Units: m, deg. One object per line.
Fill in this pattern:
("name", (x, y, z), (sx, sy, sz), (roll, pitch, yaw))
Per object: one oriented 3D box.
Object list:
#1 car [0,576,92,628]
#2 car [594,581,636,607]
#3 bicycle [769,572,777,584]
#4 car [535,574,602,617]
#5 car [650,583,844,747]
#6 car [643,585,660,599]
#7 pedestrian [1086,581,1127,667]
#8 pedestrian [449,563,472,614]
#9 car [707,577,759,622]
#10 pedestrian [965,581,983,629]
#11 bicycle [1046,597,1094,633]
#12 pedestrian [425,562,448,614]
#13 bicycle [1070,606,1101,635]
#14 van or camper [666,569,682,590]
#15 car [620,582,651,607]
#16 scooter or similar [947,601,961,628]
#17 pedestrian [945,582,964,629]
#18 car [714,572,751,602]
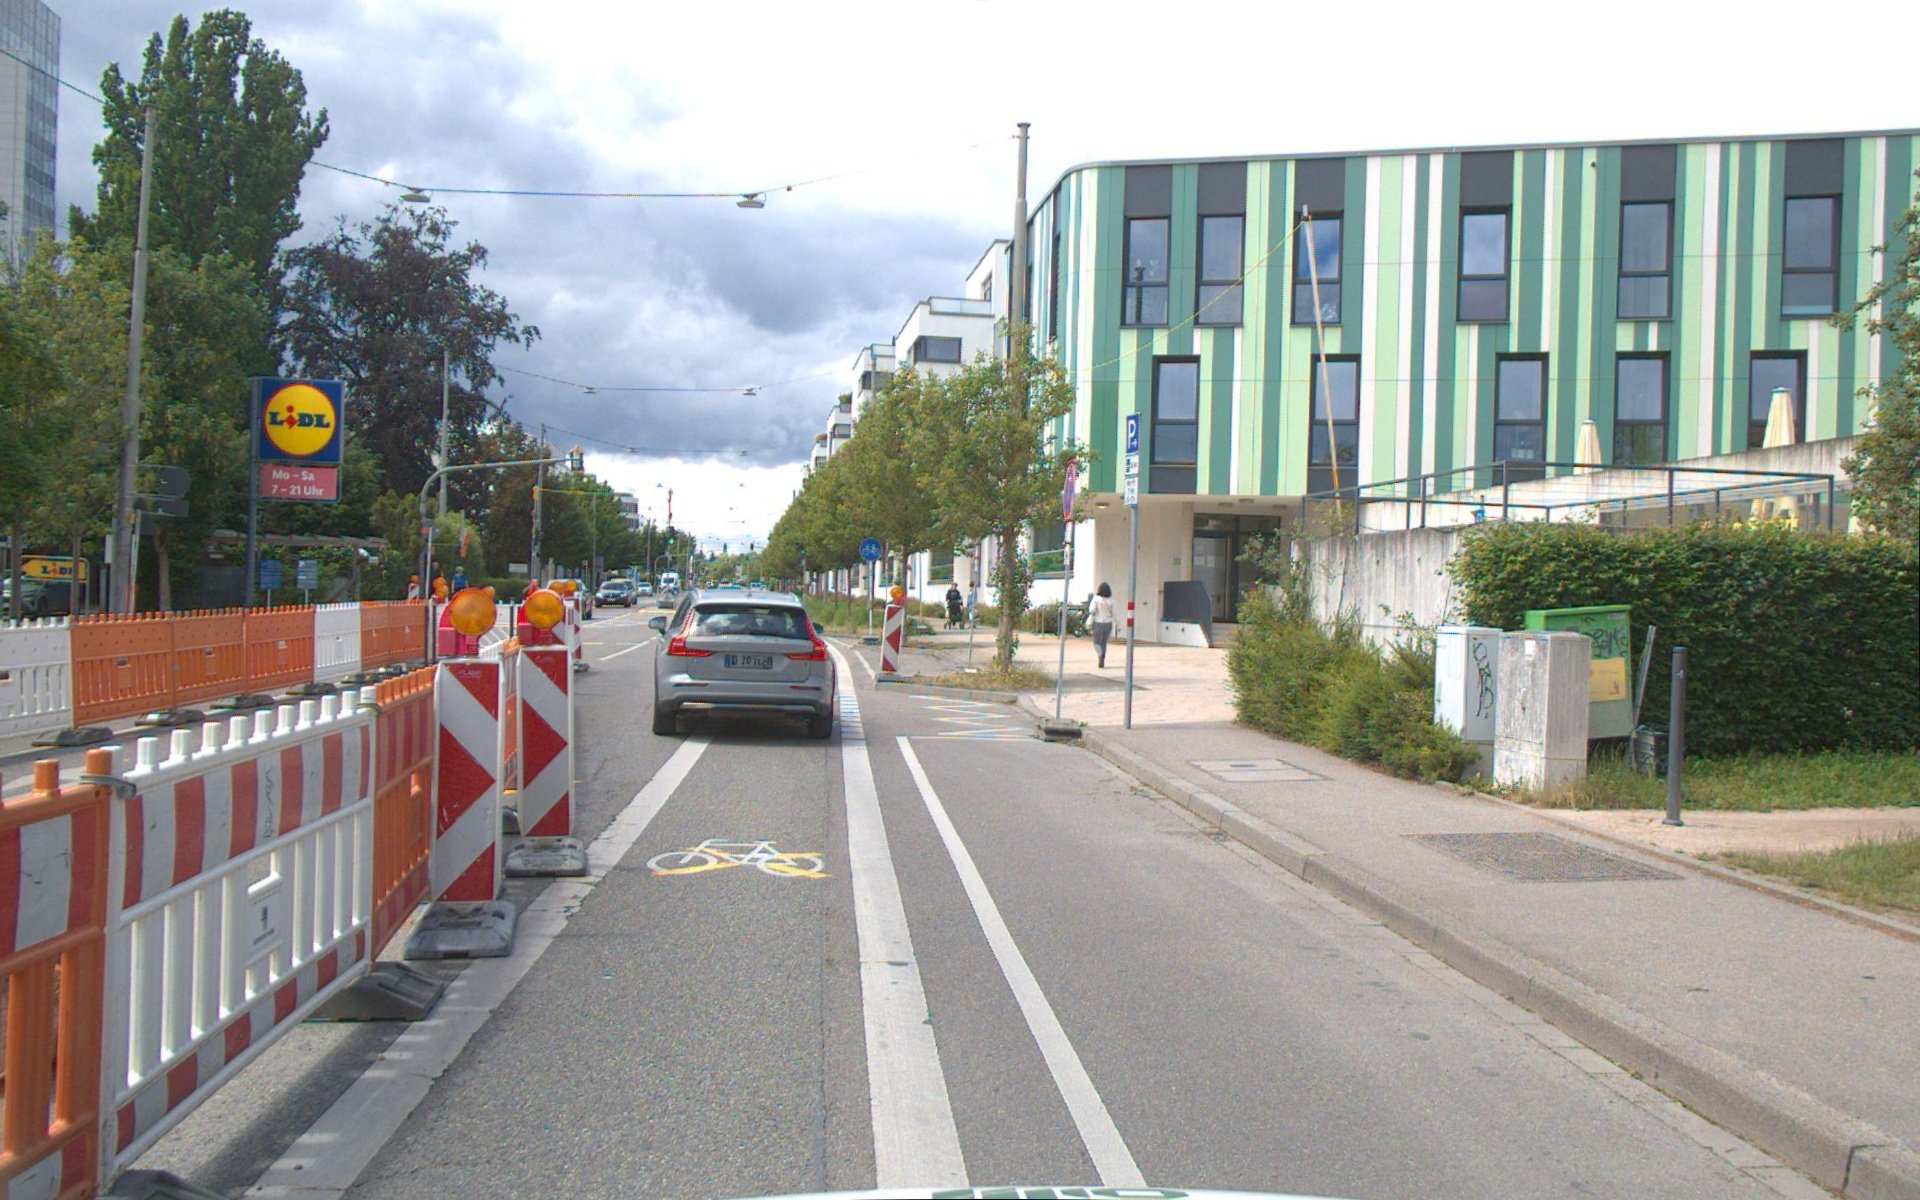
("car", (-27.158, 0.034, 48.305), (1.956, 1.478, 3.993), (0, 0, -8))
("car", (-19.463, -0.362, 93.403), (1.956, 1.424, 4.802), (-1, 1, -8))
("bicycle", (-24.050, -2.820, 212.676), (1.047, 1.478, 2.972), (0, 1, -9))
("car", (-14.724, -0.191, 62.365), (1.818, 1.539, 3.997), (0, 1, -4))
("car", (-2.240, 0.613, 18.006), (1.818, 1.539, 3.996), (2, 1, -5))
("car", (-33.876, -0.878, 181.470), (1.630, 1.542, 3.993), (1, 1, -8))
("pedestrian", (2.739, 0.438, 30.915), (0.570, 1.578, 0.867), (0, 0, -8))
("pedestrian", (-18.459, -0.420, 61.099), (0.669, 1.887, 0.891), (1, 0, -8))
("car", (-8.507, -0.046, 61.760), (1.820, 1.539, 3.992), (2, 1, -9))
("pedestrian", (0.503, 0.181, 59.171), (0.540, 1.684, 0.606), (0, 0, -8))
("bicycle", (3.315, 0.452, 49.962), (1.443, 1.064, 0.305), (0, 1, -21))
("pedestrian", (-19.279, -0.451, 60.927), (0.669, 1.887, 0.705), (1, 0, -8))
("bicycle", (3.722, 0.605, 48.952), (1.016, 0.856, 0.303), (0, 1, -41))
("van or camper", (-38.547, -2.771, 223.016), (1.959, 2.781, 6.034), (0, 1, -12))
("car", (-20.956, -0.373, 106.992), (1.716, 1.583, 4.394), (0, 1, -8))
("scooter or similar", (-0.204, 0.512, 59.090), (0.414, 0.921, 0.680), (0, 0, -8))
("pedestrian", (-0.195, 0.200, 59.566), (0.594, 1.684, 0.551), (0, 0, -8))
("car", (-12.118, -0.709, 87.945), (1.810, 1.539, 3.992), (2, 1, -9))
